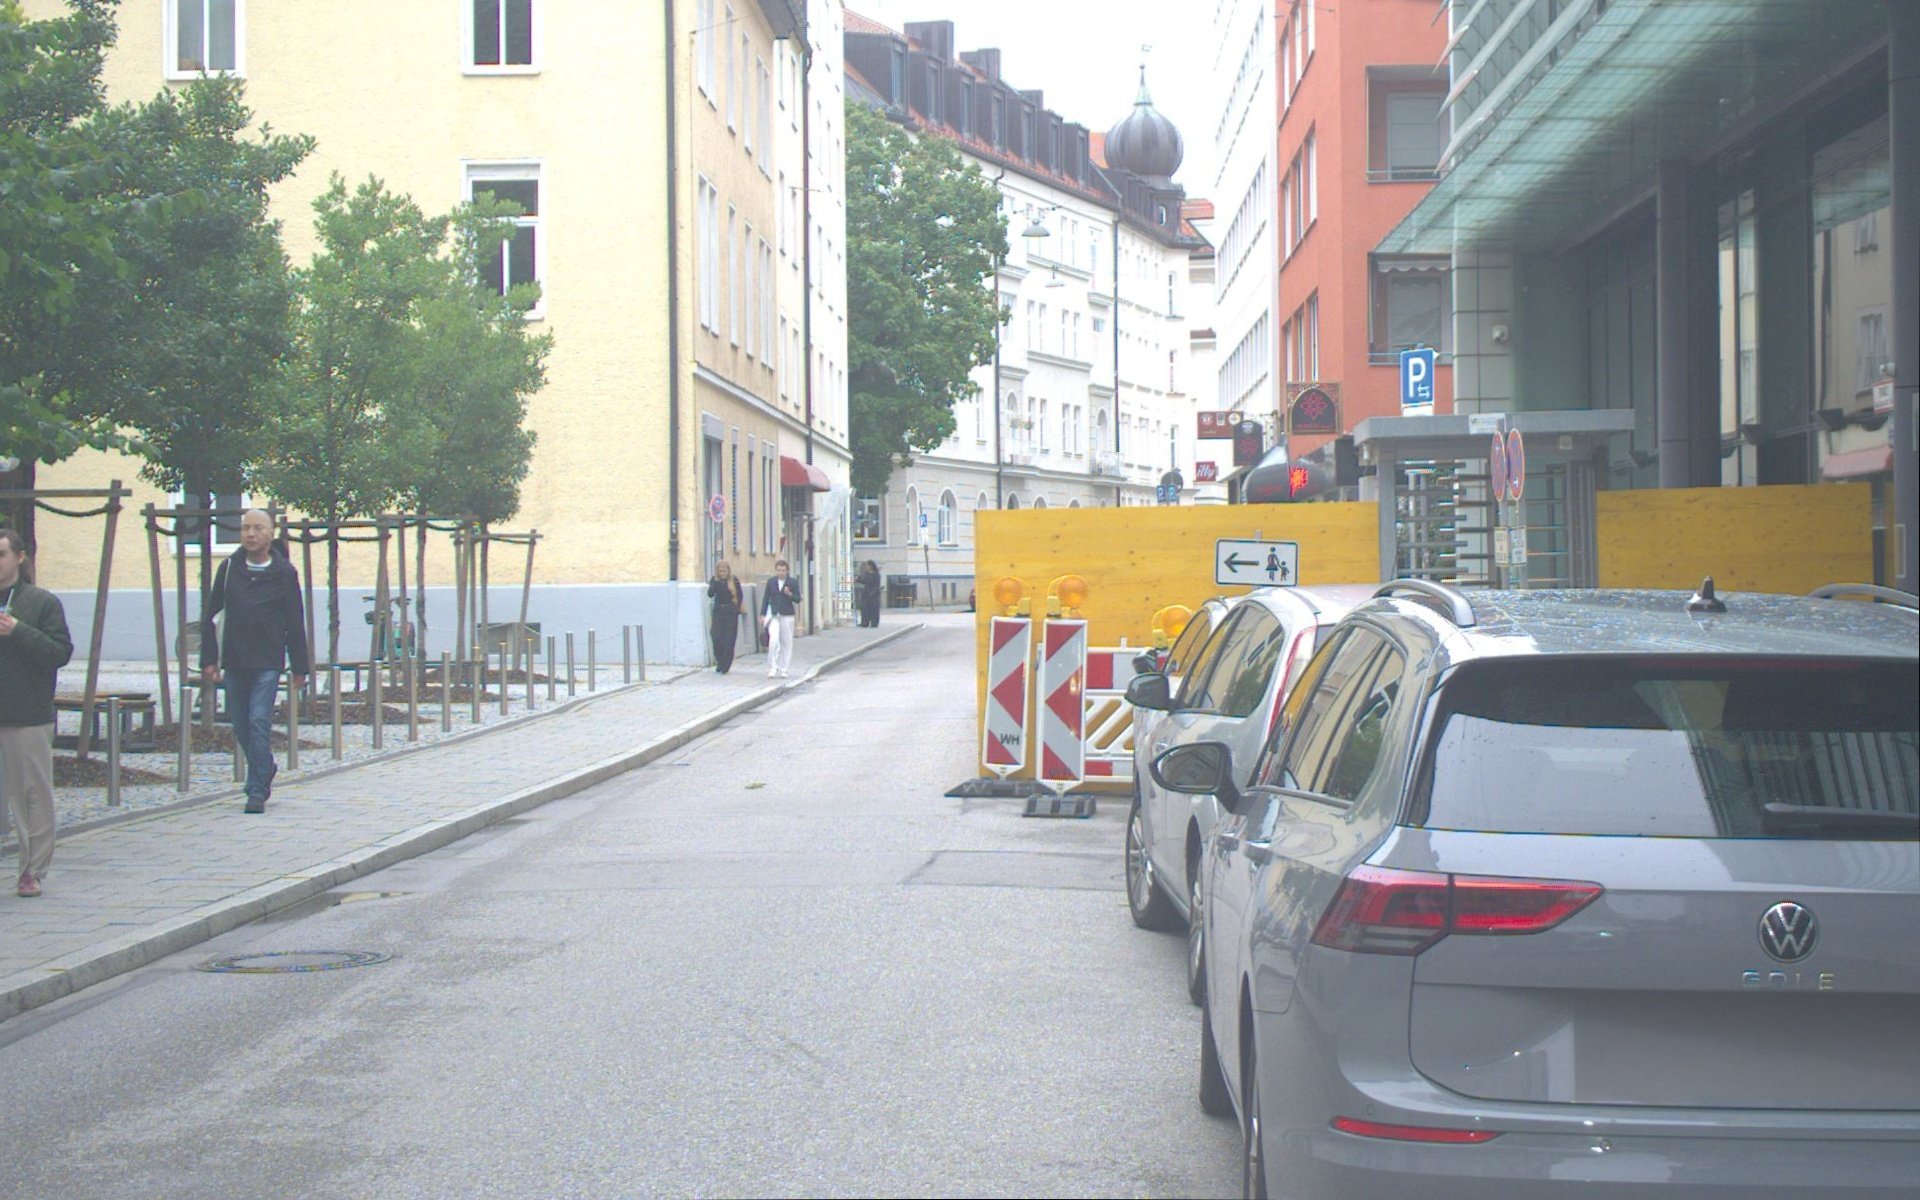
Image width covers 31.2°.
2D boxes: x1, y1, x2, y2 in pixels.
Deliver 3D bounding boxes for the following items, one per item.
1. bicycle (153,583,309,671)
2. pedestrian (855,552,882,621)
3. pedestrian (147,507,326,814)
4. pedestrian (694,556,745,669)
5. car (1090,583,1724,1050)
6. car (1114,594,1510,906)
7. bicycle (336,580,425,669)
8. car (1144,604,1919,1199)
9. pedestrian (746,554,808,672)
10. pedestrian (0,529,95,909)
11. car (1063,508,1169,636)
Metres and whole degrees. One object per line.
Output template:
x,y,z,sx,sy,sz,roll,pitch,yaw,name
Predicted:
-10.110,0.369,47.682,2.044,1.193,0.570,0,0,9,bicycle
-2.210,-0.324,83.093,0.634,1.669,0.517,0,0,1,pedestrian
-4.530,0.366,21.597,0.867,1.875,1.135,0,0,1,pedestrian
-3.525,0.184,50.374,0.670,1.642,0.761,0,0,1,pedestrian
1.513,0.684,13.111,1.707,1.462,4.237,1,0,-2,car
1.739,0.694,18.266,1.708,1.409,4.509,1,0,1,car
-7.687,0.310,45.668,0.510,1.141,2.051,1,0,9,bicycle
1.360,0.743,7.819,1.708,1.427,4.329,0,0,1,car
-2.670,0.188,50.192,0.839,1.695,0.803,0,0,1,pedestrian
-4.320,0.518,15.494,0.647,1.671,0.724,0,0,1,pedestrian
3.161,-0.580,70.365,1.993,2.528,4.975,0,1,1,car
